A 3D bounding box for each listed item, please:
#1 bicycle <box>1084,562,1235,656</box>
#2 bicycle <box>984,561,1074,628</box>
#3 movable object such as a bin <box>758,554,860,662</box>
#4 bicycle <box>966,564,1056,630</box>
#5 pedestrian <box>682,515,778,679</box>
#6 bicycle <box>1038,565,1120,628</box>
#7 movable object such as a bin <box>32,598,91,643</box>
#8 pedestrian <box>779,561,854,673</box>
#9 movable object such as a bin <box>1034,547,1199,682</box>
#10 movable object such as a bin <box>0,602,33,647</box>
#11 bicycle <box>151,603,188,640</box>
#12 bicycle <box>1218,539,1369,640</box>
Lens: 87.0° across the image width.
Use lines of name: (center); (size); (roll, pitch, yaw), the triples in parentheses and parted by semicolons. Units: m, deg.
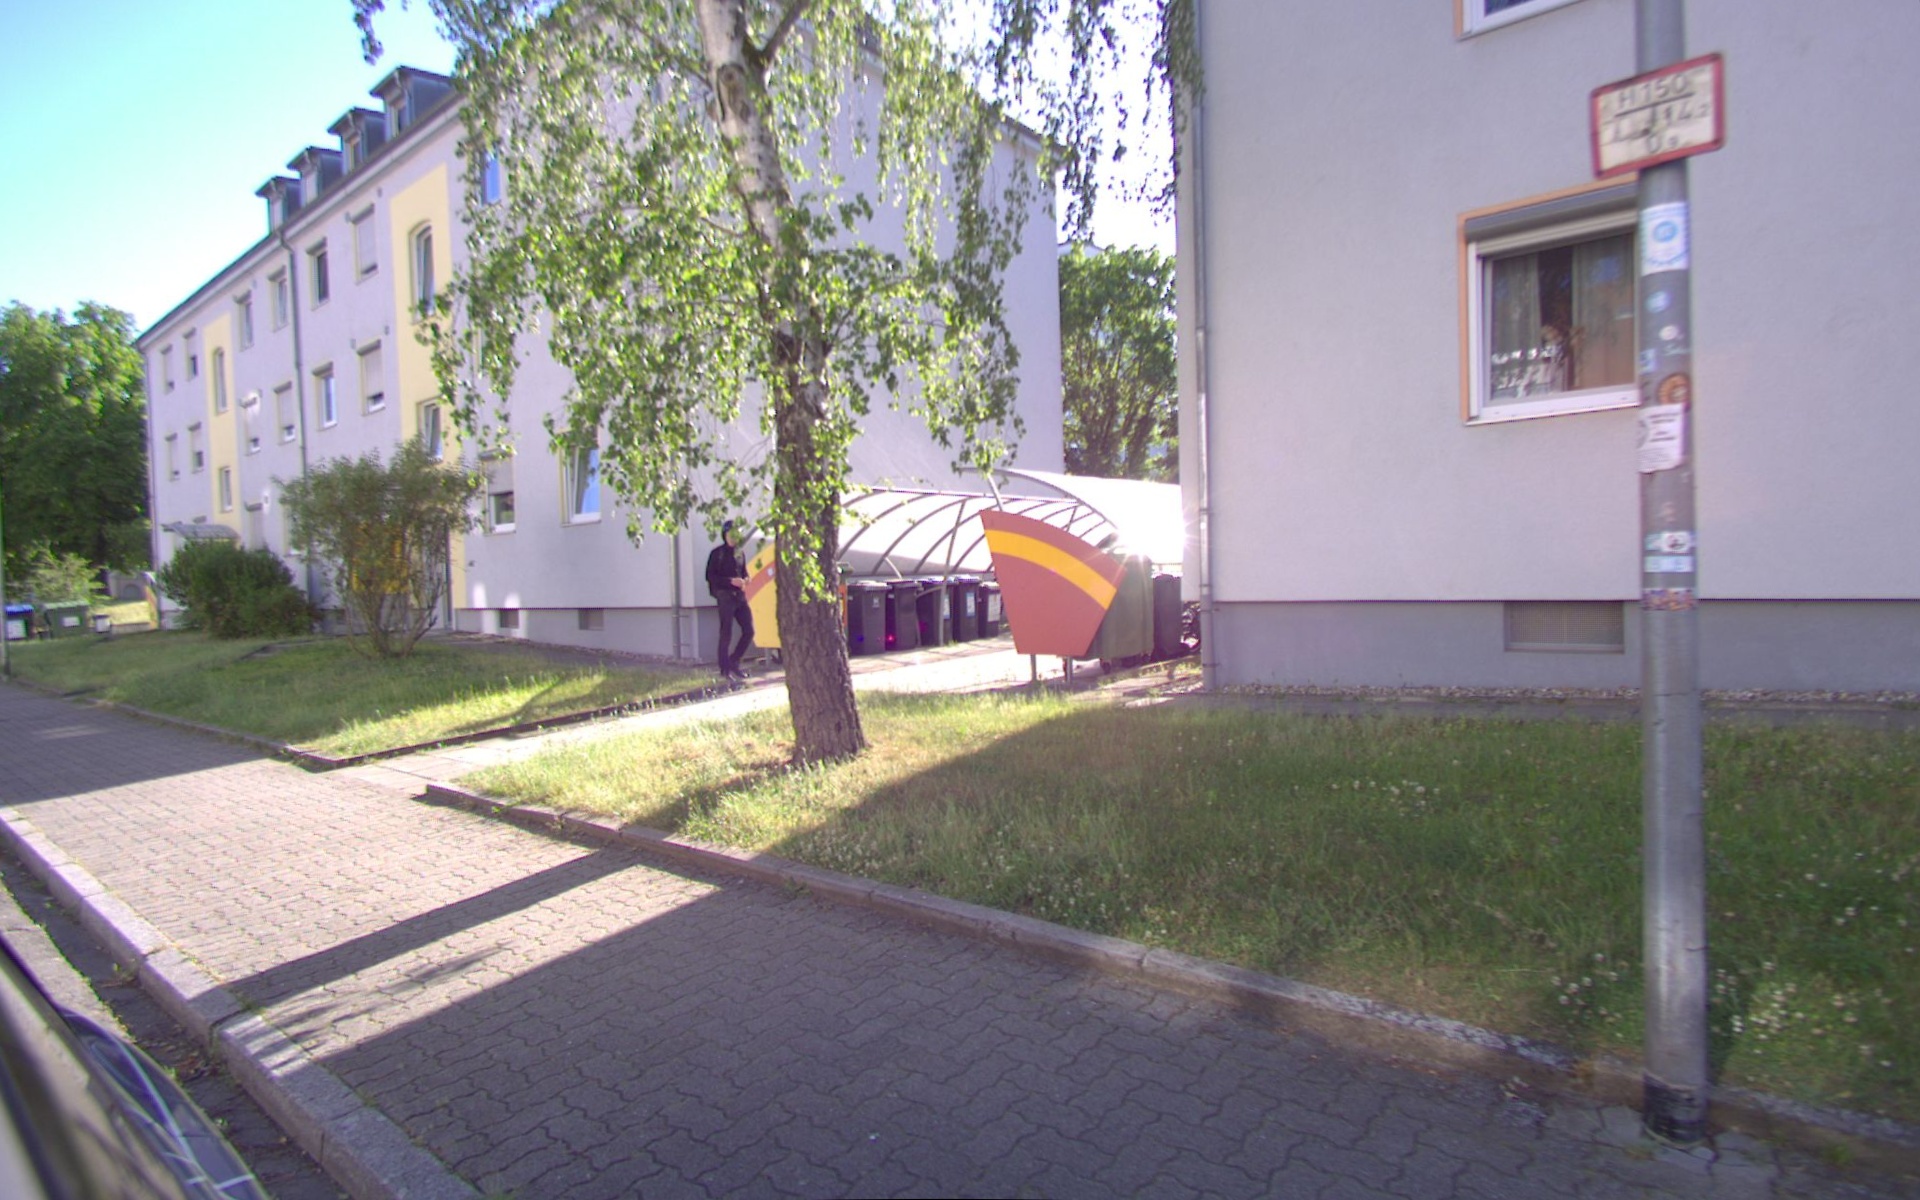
bicycle: (2.530, 0.119, 12.973); (1.848, 1.125, 0.527); (-1, 2, 40)
bicycle: (1.259, -0.100, 18.723); (1.734, 1.200, 0.450); (0, 0, 40)
movable object such as a bin: (-2.083, 0.095, 13.995); (0.812, 1.416, 1.073); (-1, 2, 41)
bicycle: (0.897, -0.074, 18.285); (1.684, 1.153, 0.457); (1, 1, 40)
pedestrian: (-2.714, -0.040, 11.935); (0.718, 1.837, 0.797); (-1, 1, 41)
bicycle: (2.188, -0.054, 18.720); (1.525, 1.136, 0.401); (-1, -1, 40)
movable object such as a bin: (-32.556, 0.721, 36.673); (1.072, 1.463, 1.347); (-1, 5, 40)
pedestrian: (-1.761, 0.196, 12.448); (0.575, 1.327, 0.679); (-1, 1, 41)
movable object such as a bin: (1.740, 0.132, 11.203); (1.227, 1.345, 1.374); (-1, 3, 40)
movable object such as a bin: (-33.542, 0.871, 35.454); (1.082, 1.470, 1.342); (-1, 5, 40)
bicycle: (-28.312, 0.766, 36.239); (2.008, 1.260, 0.633); (-1, 2, 41)
bicycle: (4.896, -0.134, 14.945); (2.012, 1.408, 0.611); (-1, -1, 40)
